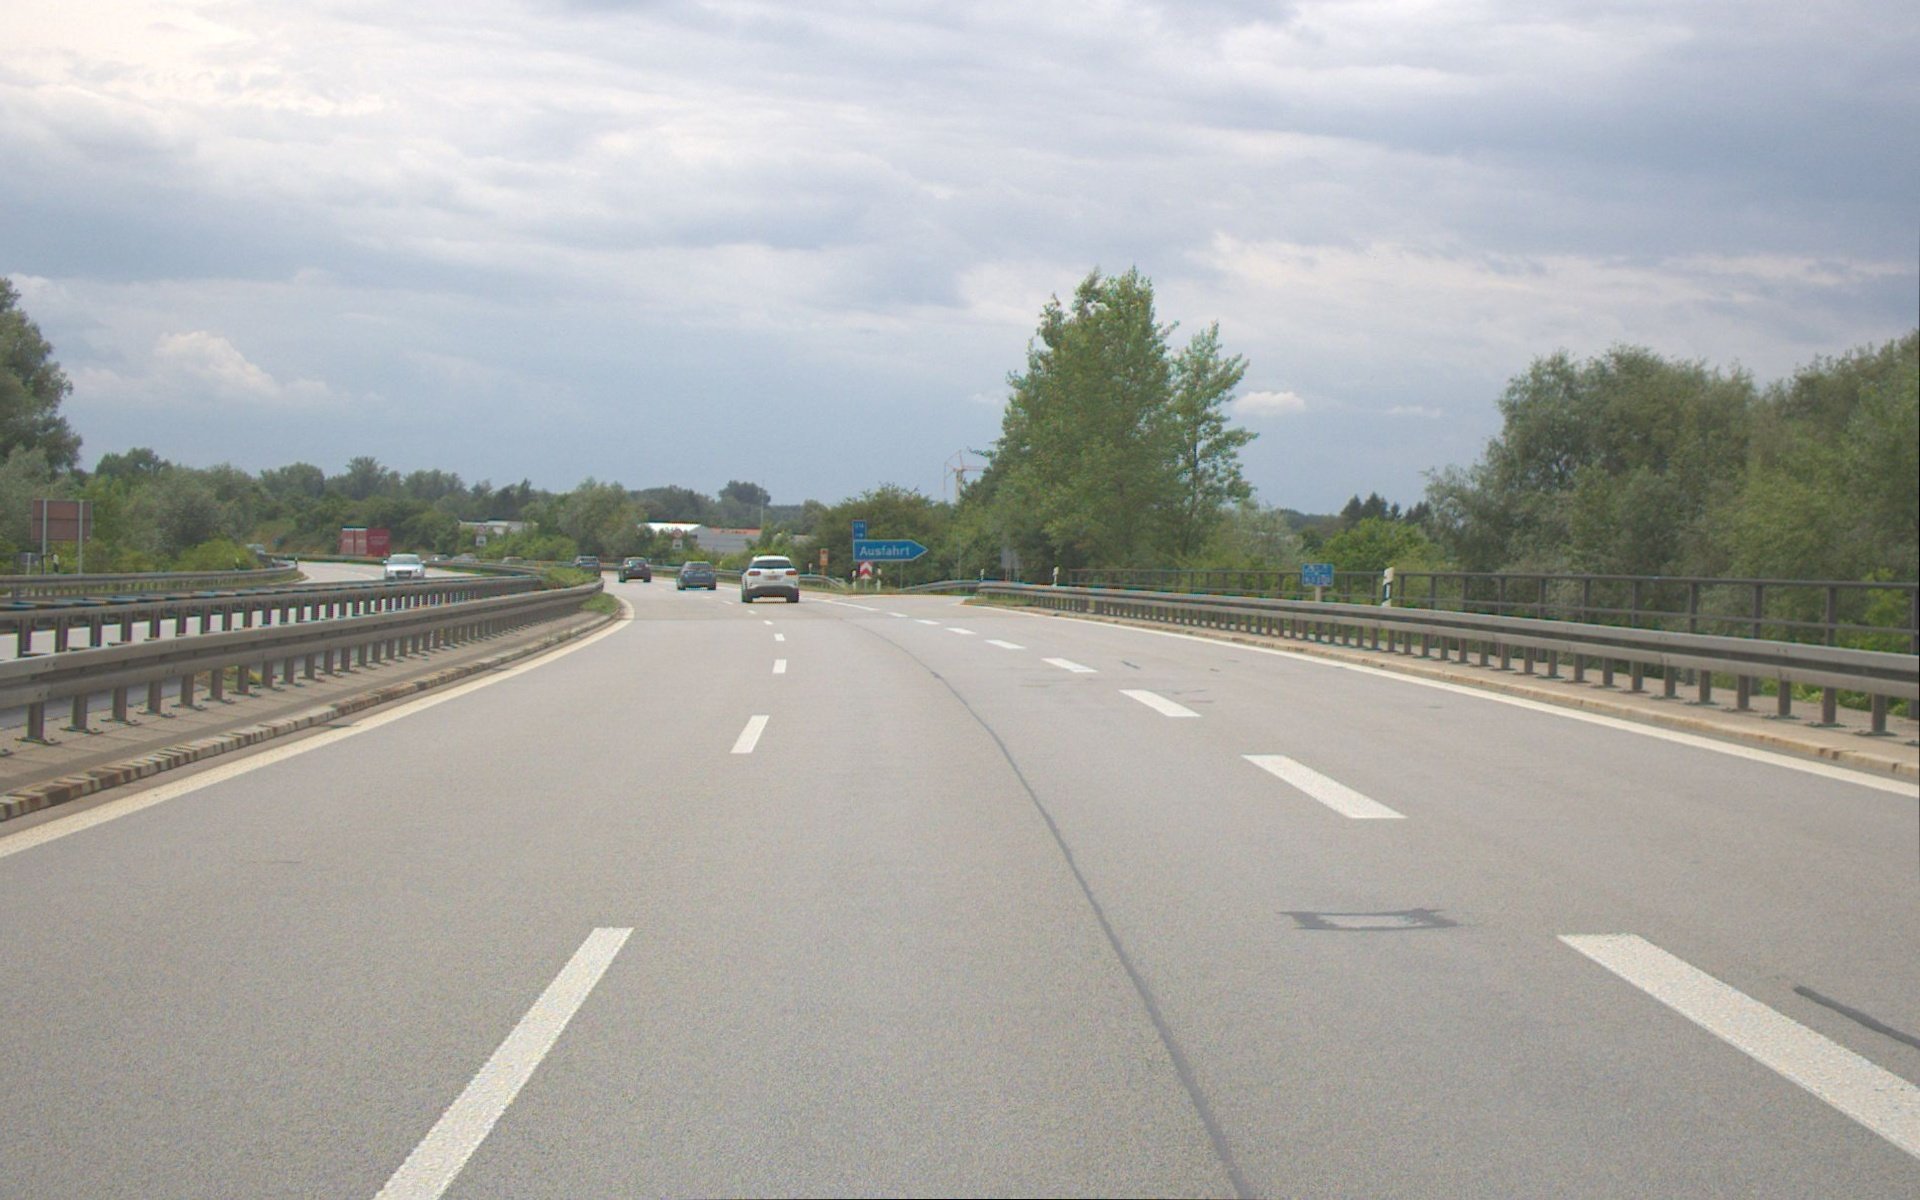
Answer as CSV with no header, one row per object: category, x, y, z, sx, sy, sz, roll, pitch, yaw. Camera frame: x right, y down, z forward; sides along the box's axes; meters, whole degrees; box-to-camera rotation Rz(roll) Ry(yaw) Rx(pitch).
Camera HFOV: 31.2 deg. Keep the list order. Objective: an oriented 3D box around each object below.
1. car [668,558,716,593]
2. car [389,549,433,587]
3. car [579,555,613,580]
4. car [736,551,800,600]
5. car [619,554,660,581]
car,-13.410,-1.244,171.982,1.892,1.634,4.623,1,1,-11
car,-25.476,-1.511,159.649,1.642,1.709,4.982,1,1,-5
car,-26.254,-2.349,247.806,1.826,1.787,4.415,1,1,-14
car,-6.784,-0.884,121.170,1.902,1.634,4.397,1,1,-8
car,-20.007,-2.026,214.504,1.902,1.634,4.781,1,1,-13
